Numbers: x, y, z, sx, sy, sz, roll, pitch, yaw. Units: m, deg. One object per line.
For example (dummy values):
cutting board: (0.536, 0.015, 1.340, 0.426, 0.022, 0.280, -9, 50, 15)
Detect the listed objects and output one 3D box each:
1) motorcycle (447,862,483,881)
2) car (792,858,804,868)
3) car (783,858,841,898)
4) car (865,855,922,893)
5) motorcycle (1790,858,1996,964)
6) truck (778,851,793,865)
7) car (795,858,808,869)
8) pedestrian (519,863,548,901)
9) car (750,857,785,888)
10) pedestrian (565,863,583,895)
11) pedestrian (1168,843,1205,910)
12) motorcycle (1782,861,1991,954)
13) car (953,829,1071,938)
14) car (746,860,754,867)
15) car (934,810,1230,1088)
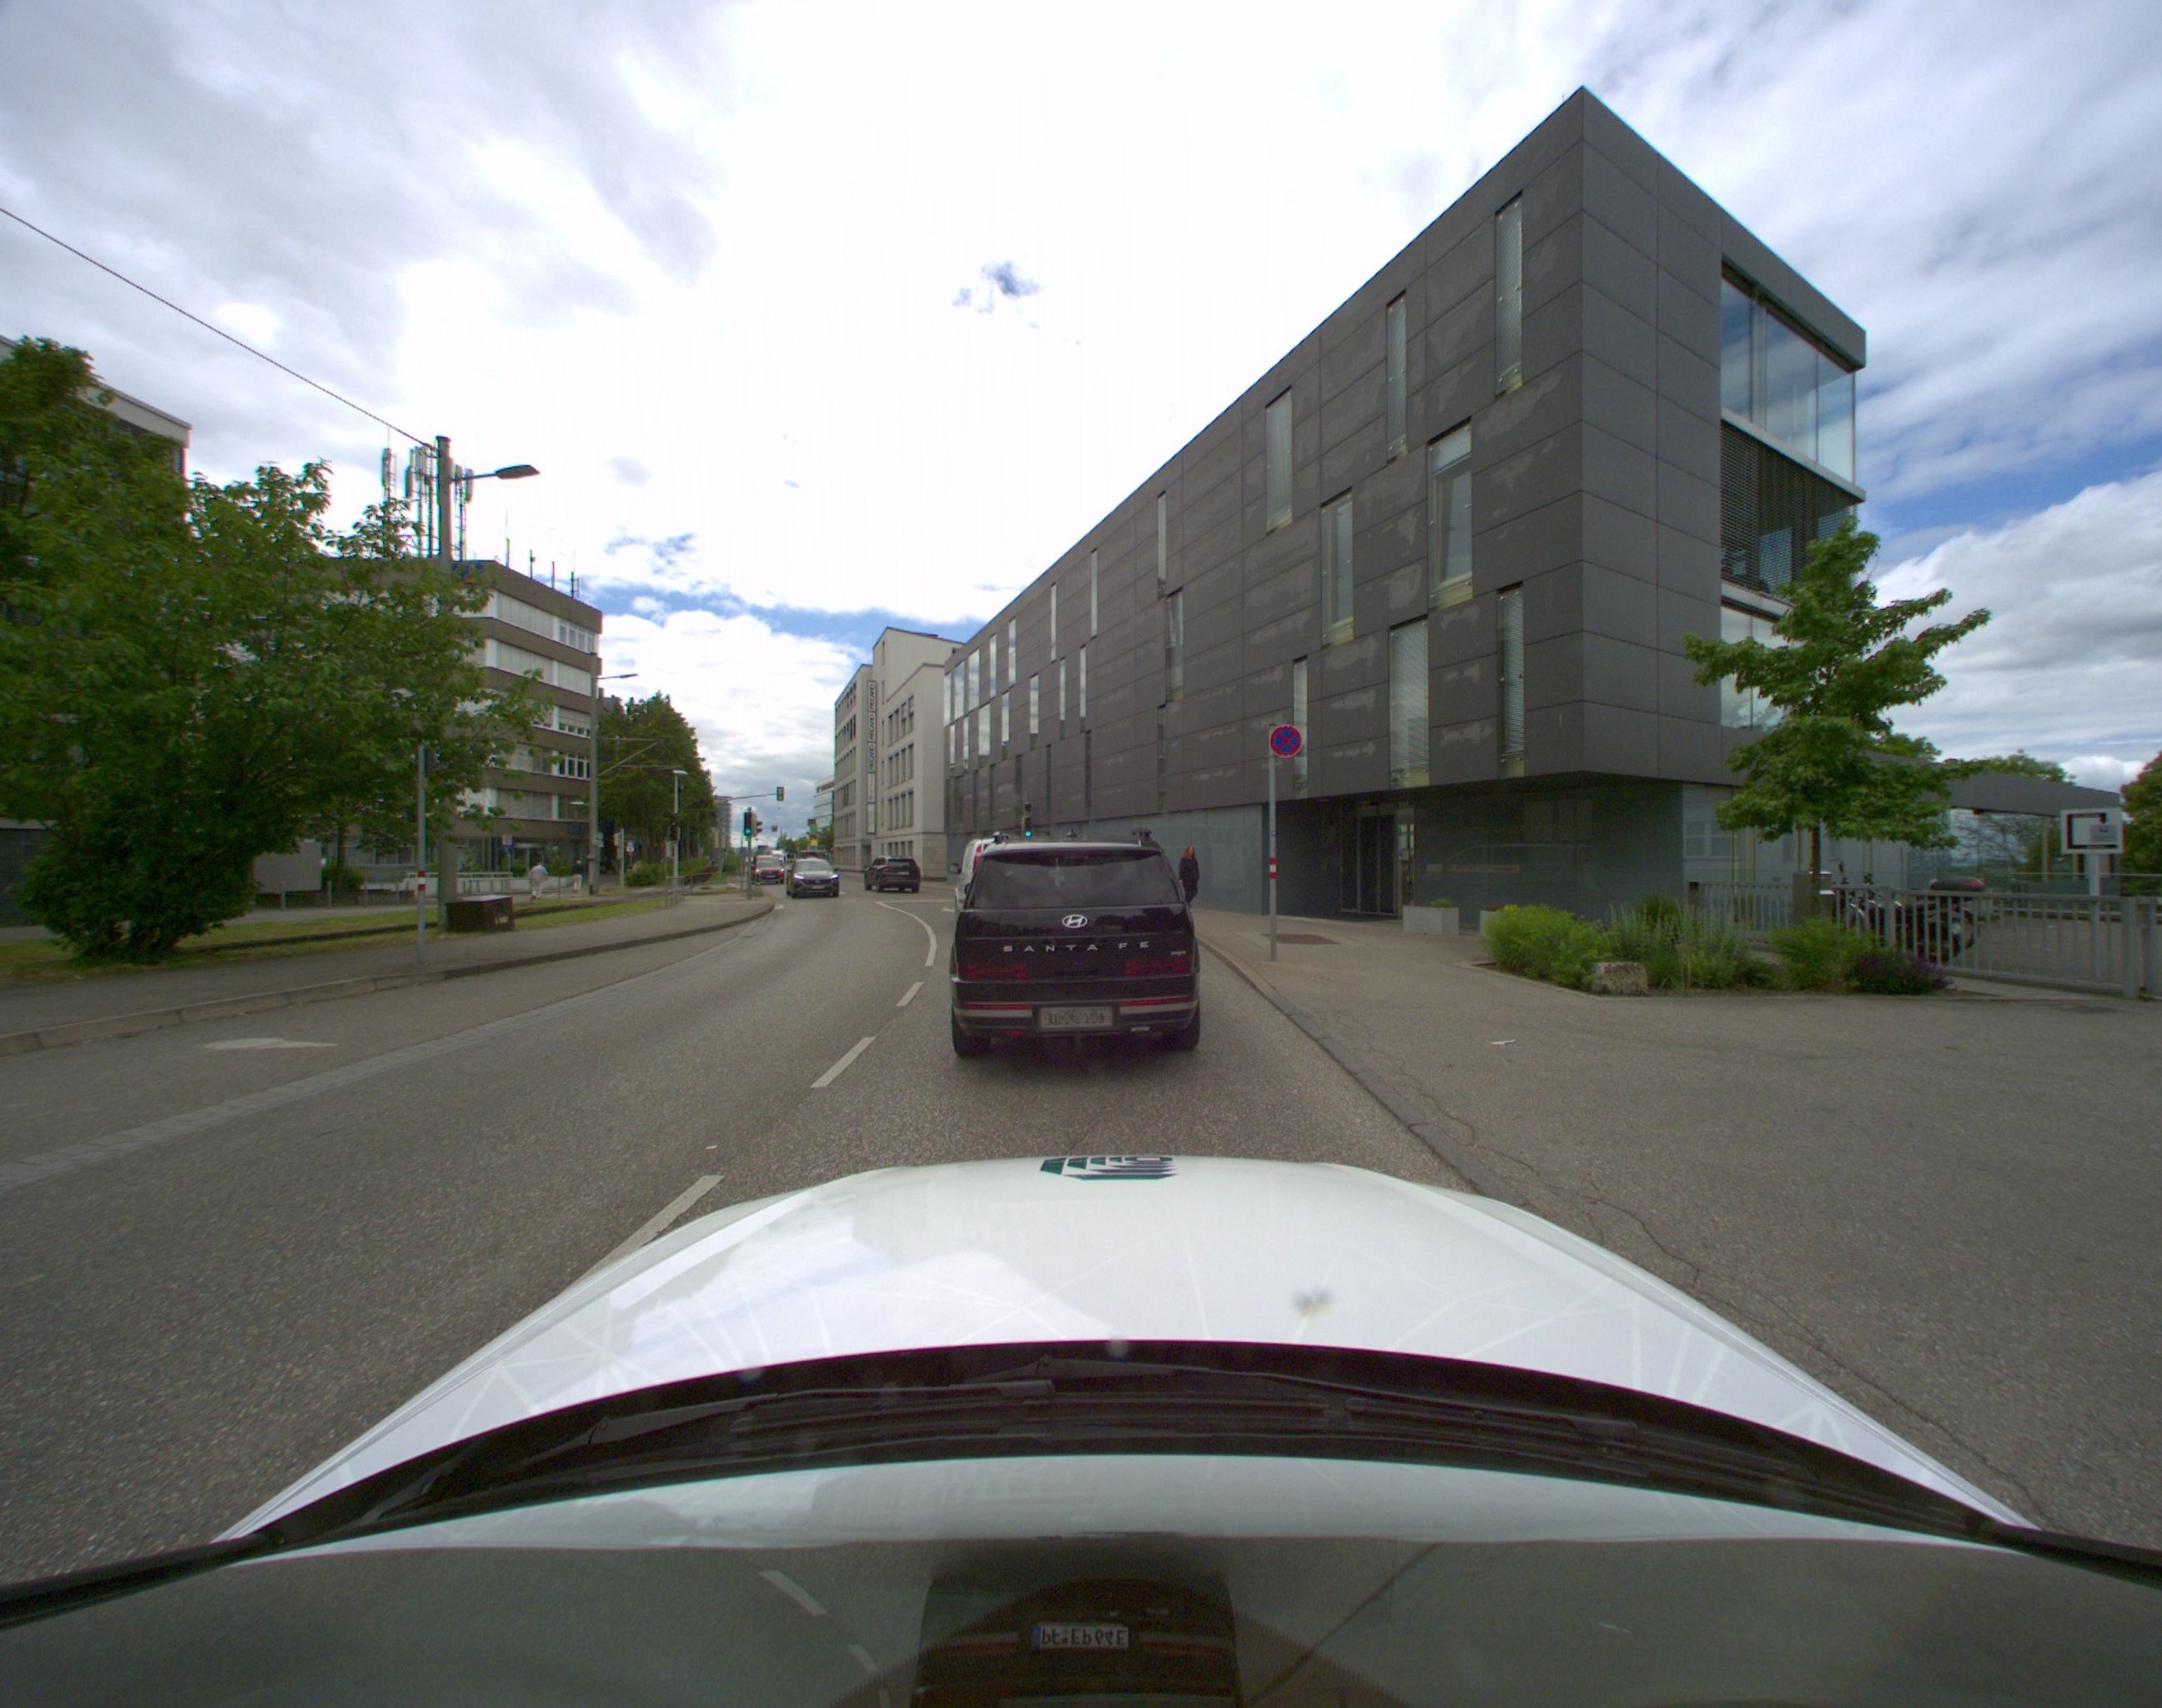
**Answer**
motorcycle: (-40.147, 1.128, 53.121, 1.874, 1.199, 0.568, -1, 0, -2)
car: (-47.685, 1.542, 137.124, 1.765, 1.609, 4.159, 0, 0, -20)
car: (-11.042, 0.955, 33.292, 1.777, 1.479, 3.967, -2, 0, -25)
car: (-8.546, 0.856, 36.892, 1.767, 1.609, 4.155, 0, 0, -24)
motorcycle: (11.942, 0.778, 12.097, 0.669, 1.393, 2.112, 0, 1, -17)
truck: (-55.374, 0.806, 152.415, 2.175, 2.615, 5.749, 0, 0, -24)
car: (-41.284, 1.363, 120.384, 1.765, 1.609, 4.159, 0, 0, -20)
pedestrian: (-22.953, 1.156, 34.163, 0.852, 1.526, 0.988, -2, 0, -25)
car: (-19.517, 1.142, 50.639, 1.689, 1.808, 4.316, -2, 0, -25)
pedestrian: (-27.695, 1.337, 44.520, 0.690, 1.705, 0.678, -2, 0, -21)
pedestrian: (2.740, 0.577, 21.201, 0.860, 1.694, 0.713, 1, -1, 0)
motorcycle: (13.325, 0.827, 13.611, 0.669, 1.393, 2.449, 0, 0, -17)
car: (-1.616, 0.540, 17.301, 1.933, 1.994, 4.515, 0, 0, -12)
car: (-85.666, 2.440, 210.773, 1.673, 1.882, 3.970, 0, 0, -22)
car: (-0.134, 0.612, 7.494, 1.905, 1.749, 4.390, -1, 0, -4)
